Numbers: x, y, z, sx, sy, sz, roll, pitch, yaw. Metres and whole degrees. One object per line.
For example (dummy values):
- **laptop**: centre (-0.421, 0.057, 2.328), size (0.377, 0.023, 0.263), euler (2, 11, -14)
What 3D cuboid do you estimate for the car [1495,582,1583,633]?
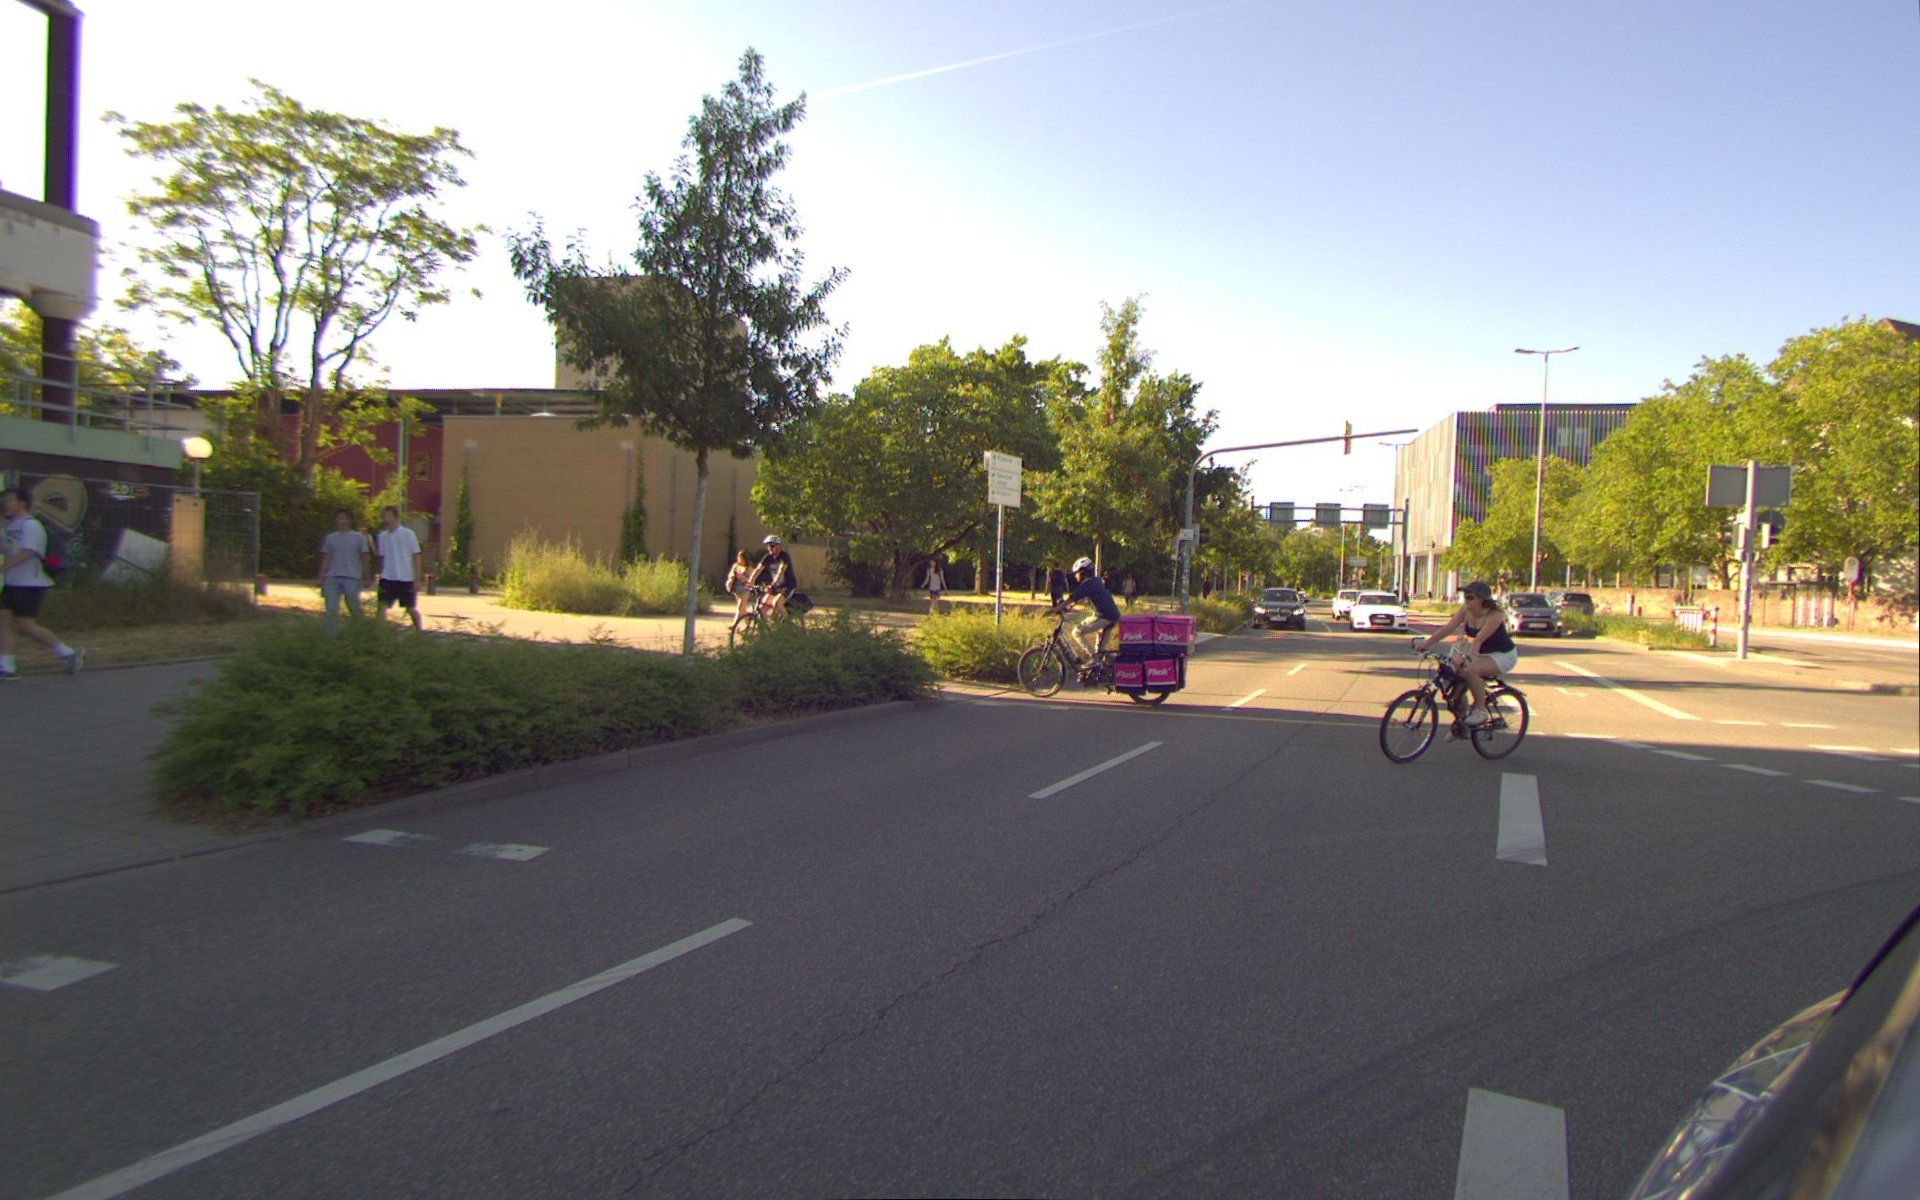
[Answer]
- **car**: centre (19.493, 0.192, 34.239), size (1.902, 1.537, 3.990), euler (2, 2, 21)

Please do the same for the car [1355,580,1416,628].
- **car**: centre (15.193, 0.079, 36.274), size (1.782, 1.537, 4.402), euler (2, 2, 21)

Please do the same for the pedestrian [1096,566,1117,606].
- **pedestrian**: centre (5.989, -0.575, 41.333), size (0.751, 1.562, 0.844), euler (3, 1, 12)

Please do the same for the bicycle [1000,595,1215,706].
- **bicycle**: centre (1.829, 0.588, 12.743), size (2.557, 1.170, 0.773), euler (3, 2, 28)

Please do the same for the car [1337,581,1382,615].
- **car**: centre (19.423, -0.134, 49.336), size (1.902, 1.537, 3.990), euler (2, 2, 21)

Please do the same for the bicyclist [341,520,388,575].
- **bicyclist**: centre (-16.493, -1.450, 28.042), size (0.904, 1.453, 0.620), euler (2, -1, 14)

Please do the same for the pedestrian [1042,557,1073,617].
- **pedestrian**: centre (2.891, -0.381, 29.985), size (0.703, 1.734, 0.730), euler (2, 1, 18)

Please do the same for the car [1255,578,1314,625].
- **car**: centre (11.603, 0.003, 36.061), size (1.782, 1.537, 3.973), euler (2, 2, 21)

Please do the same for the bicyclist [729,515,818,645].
- **bicyclist**: centre (-2.774, -0.308, 15.134), size (0.773, 1.853, 1.083), euler (3, 2, 27)

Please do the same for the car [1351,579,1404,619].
- **car**: centre (17.632, -0.101, 42.906), size (1.902, 1.537, 3.990), euler (2, 2, 21)

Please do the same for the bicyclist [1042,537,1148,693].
- **bicyclist**: centre (1.714, 0.161, 12.814), size (1.083, 1.856, 0.773), euler (3, 2, 28)

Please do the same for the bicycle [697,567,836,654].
- **bicycle**: centre (-2.824, 0.118, 15.066), size (0.773, 1.170, 2.270), euler (3, 2, 27)

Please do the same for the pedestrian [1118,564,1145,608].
- **pedestrian**: centre (7.167, -0.603, 42.359), size (1.003, 1.771, 0.847), euler (3, 1, 12)

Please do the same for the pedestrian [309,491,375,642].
- **pedestrian**: centre (-8.000, -0.426, 13.117), size (0.609, 1.892, 0.578), euler (1, 1, -21)

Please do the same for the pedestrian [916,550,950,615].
- **pedestrian**: centre (-0.717, -0.478, 27.294), size (0.666, 1.725, 0.874), euler (2, 1, 13)

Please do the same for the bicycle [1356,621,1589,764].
- **bicycle**: centre (4.464, 0.764, 8.830), size (1.829, 1.135, 0.721), euler (1, 0, -18)

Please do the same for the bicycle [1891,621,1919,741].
- **bicycle**: centre (10.174, 0.781, 9.578), size (2.027, 1.135, 0.719), euler (0, 0, 1)

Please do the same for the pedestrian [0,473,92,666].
- **pedestrian**: centre (-8.636, -0.288, 9.432), size (0.616, 1.720, 0.625), euler (3, 1, 27)

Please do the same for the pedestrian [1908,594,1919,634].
- **pedestrian**: centre (37.689, 0.570, 39.245), size (0.961, 1.555, 0.917), euler (2, 1, 18)

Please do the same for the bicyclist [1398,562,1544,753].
- **bicyclist**: centre (4.440, 0.486, 8.821), size (0.831, 1.568, 0.719), euler (2, -1, -18)

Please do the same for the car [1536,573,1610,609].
- **car**: centre (31.230, -0.480, 51.703), size (1.972, 1.705, 4.607), euler (2, 2, 16)

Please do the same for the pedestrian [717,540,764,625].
- **pedestrian**: centre (-4.263, -0.342, 19.671), size (0.614, 1.594, 0.636), euler (2, 1, 18)

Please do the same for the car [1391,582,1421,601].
- **car**: centre (42.913, -0.832, 97.400), size (1.972, 1.615, 3.981), euler (2, 2, 15)

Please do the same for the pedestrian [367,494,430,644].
- **pedestrian**: centre (-7.269, -0.397, 13.118), size (0.609, 1.892, 0.578), euler (1, 1, -21)
